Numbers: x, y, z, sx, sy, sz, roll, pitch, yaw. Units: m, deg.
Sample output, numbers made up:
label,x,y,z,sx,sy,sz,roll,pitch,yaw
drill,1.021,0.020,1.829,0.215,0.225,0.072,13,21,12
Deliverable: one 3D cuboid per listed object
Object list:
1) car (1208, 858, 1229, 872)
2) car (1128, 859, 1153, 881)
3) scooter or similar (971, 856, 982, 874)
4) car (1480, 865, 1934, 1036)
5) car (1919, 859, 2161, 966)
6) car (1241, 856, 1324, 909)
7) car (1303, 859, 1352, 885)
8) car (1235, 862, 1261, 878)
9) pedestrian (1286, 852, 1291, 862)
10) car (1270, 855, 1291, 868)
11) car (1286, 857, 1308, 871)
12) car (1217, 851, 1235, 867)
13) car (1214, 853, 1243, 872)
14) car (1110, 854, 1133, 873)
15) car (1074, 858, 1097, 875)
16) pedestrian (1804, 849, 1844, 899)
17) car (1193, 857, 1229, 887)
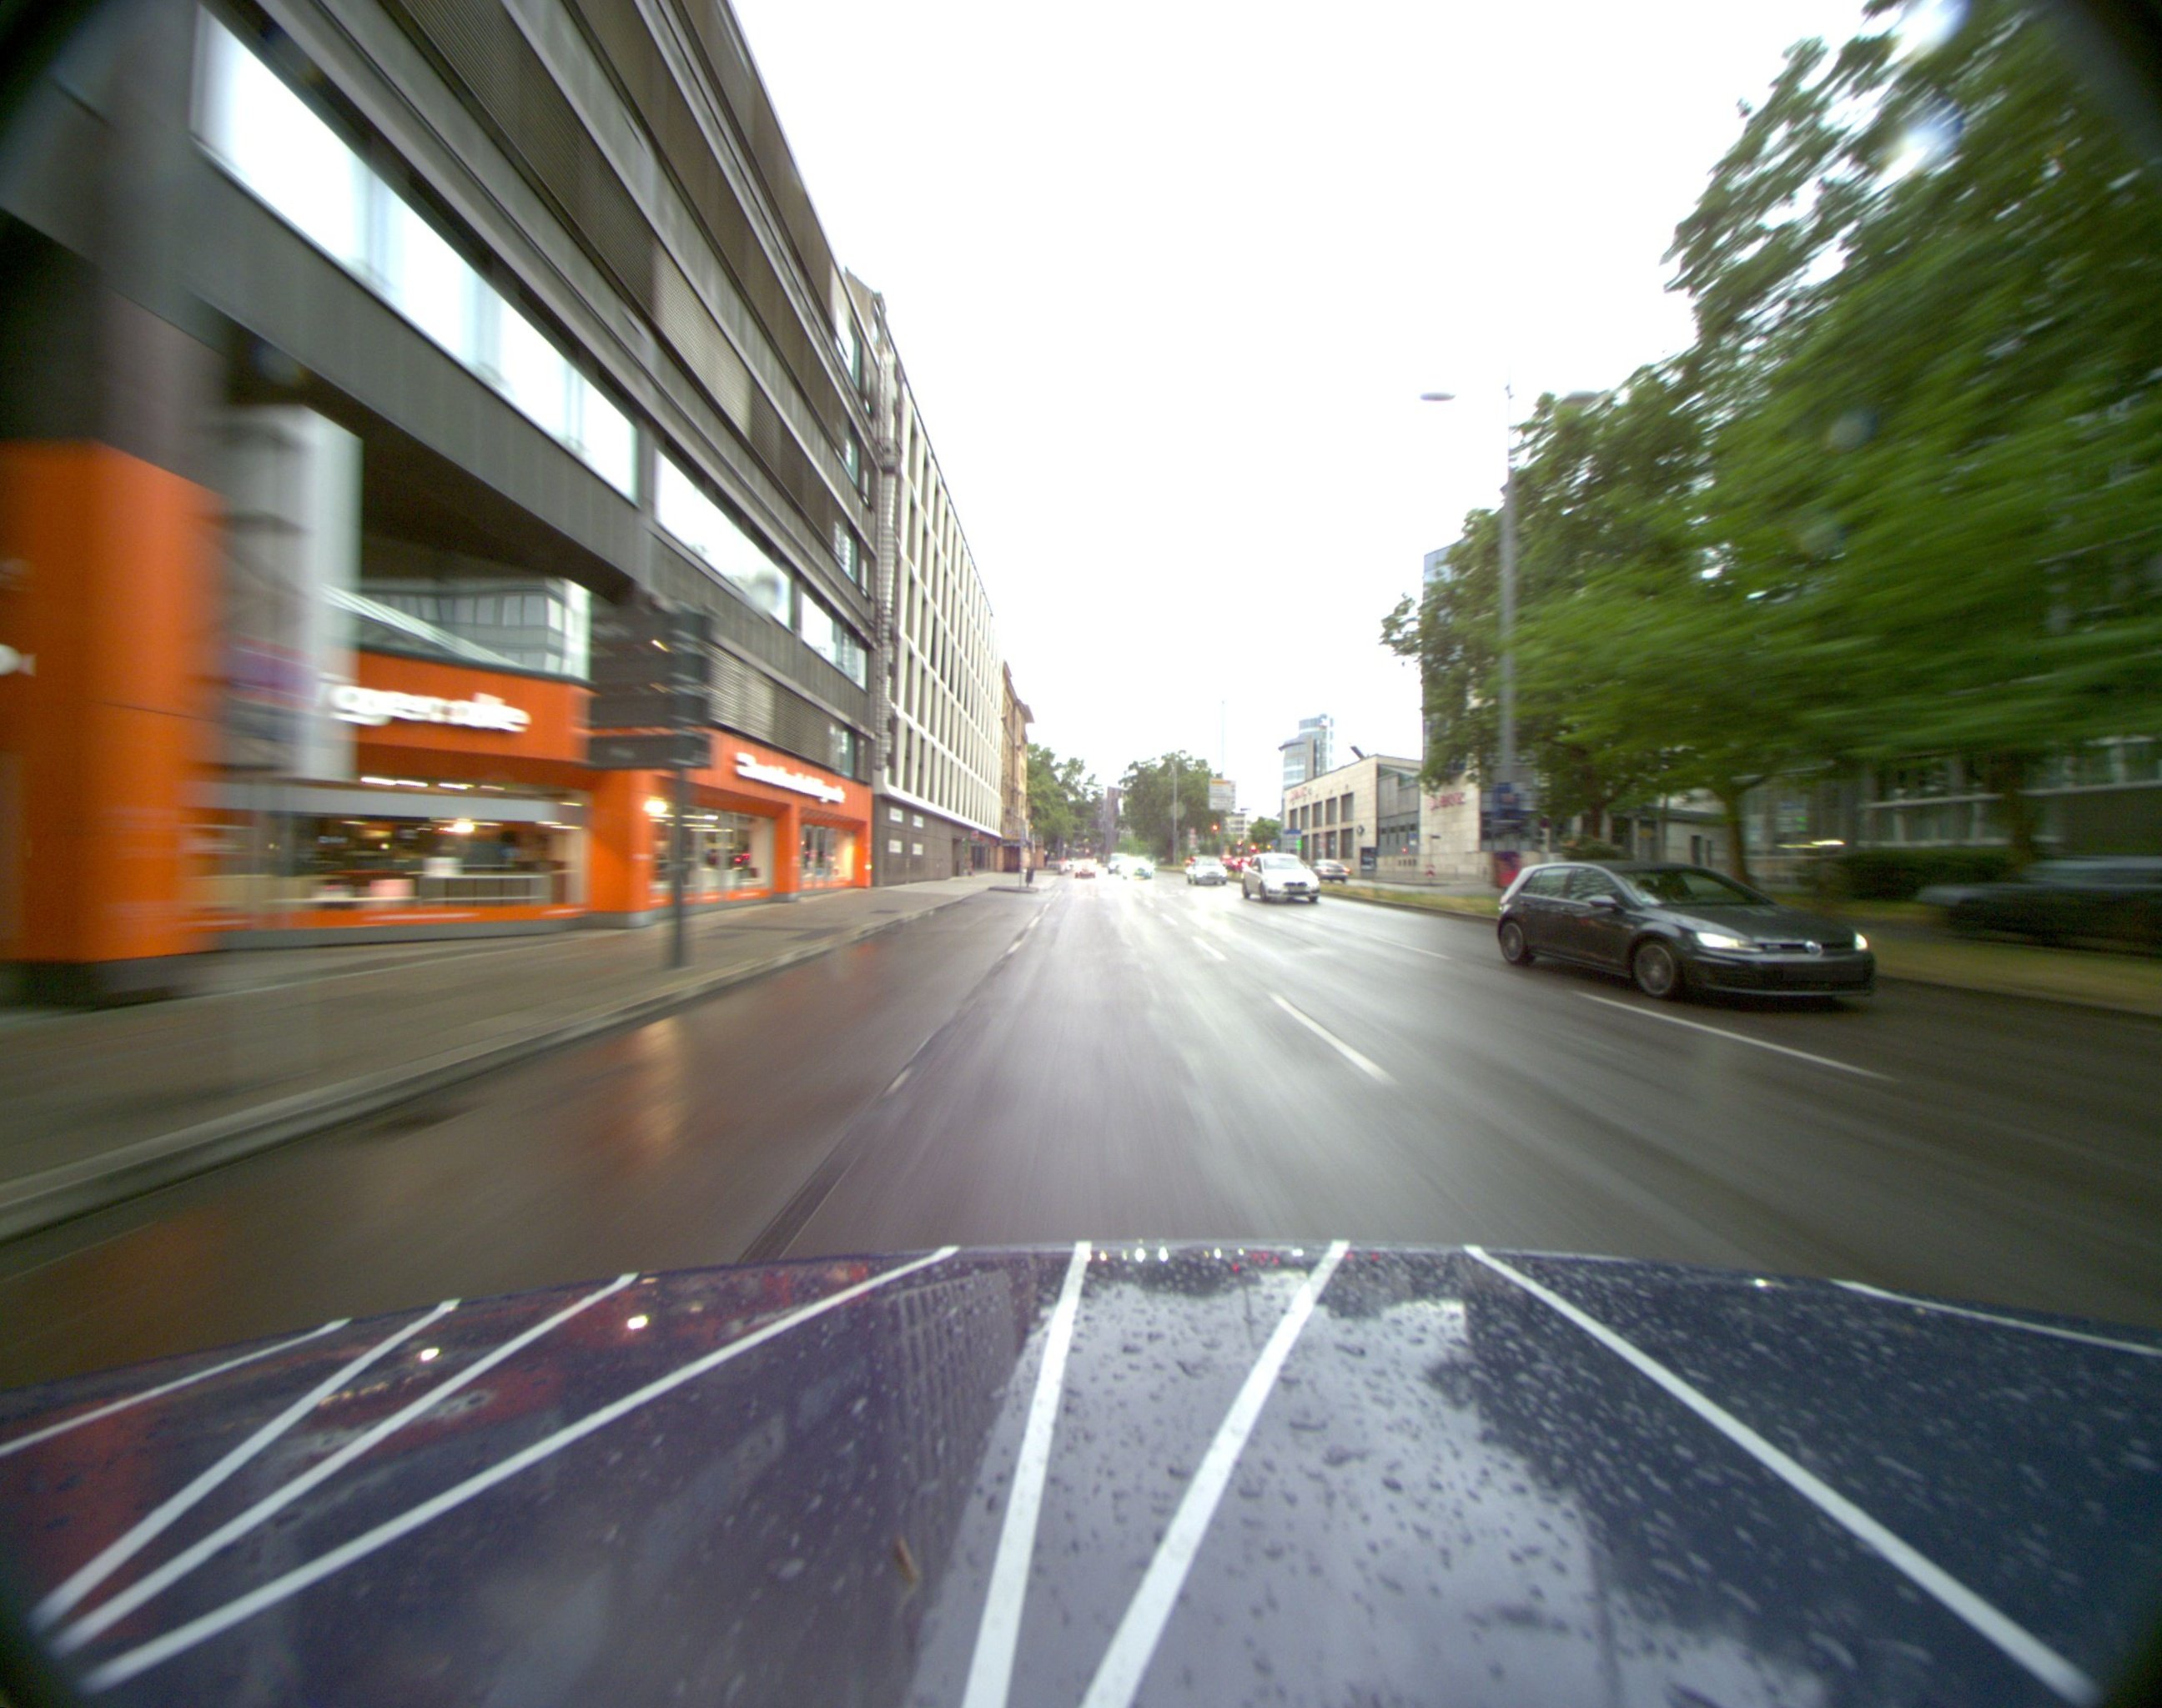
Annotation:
label,x,y,z,sx,sy,sz,roll,pitch,yaw
car,14.426,1.118,79.792,1.600,1.352,4.117,0,1,3
car,4.234,1.092,53.892,1.716,1.433,3.496,1,0,5
scooter or similar,-7.274,0.776,53.068,0.412,1.229,1.190,0,0,9
car,6.699,0.888,8.859,1.789,1.444,4.122,-1,0,-3
car,19.073,1.040,13.712,2.005,1.758,5.184,3,0,-2
car,6.740,0.890,25.805,1.781,1.587,3.999,0,1,0
car,15.911,1.138,49.197,1.666,1.455,4.080,2,0,-2
car,17.175,1.639,78.387,1.695,1.430,4.758,0,1,1
pedestrian,38.616,0.551,141.281,0.589,1.913,1.125,-1,0,0
car,24.302,0.887,92.708,1.751,1.407,4.706,0,1,5
car,22.851,1.061,80.335,1.595,1.407,3.402,0,1,5
car,19.273,0.596,100.943,1.835,1.991,5.105,0,1,5
car,13.948,0.783,72.310,1.878,1.670,4.680,0,1,0
car,3.695,0.854,69.929,1.998,1.733,3.910,0,0,2
car,0.362,0.992,60.438,1.716,1.274,3.494,0,0,0
pedestrian,27.587,0.733,28.222,0.736,1.797,0.802,0,0,1
car,7.073,0.957,41.689,1.611,1.433,3.495,-2,0,5
